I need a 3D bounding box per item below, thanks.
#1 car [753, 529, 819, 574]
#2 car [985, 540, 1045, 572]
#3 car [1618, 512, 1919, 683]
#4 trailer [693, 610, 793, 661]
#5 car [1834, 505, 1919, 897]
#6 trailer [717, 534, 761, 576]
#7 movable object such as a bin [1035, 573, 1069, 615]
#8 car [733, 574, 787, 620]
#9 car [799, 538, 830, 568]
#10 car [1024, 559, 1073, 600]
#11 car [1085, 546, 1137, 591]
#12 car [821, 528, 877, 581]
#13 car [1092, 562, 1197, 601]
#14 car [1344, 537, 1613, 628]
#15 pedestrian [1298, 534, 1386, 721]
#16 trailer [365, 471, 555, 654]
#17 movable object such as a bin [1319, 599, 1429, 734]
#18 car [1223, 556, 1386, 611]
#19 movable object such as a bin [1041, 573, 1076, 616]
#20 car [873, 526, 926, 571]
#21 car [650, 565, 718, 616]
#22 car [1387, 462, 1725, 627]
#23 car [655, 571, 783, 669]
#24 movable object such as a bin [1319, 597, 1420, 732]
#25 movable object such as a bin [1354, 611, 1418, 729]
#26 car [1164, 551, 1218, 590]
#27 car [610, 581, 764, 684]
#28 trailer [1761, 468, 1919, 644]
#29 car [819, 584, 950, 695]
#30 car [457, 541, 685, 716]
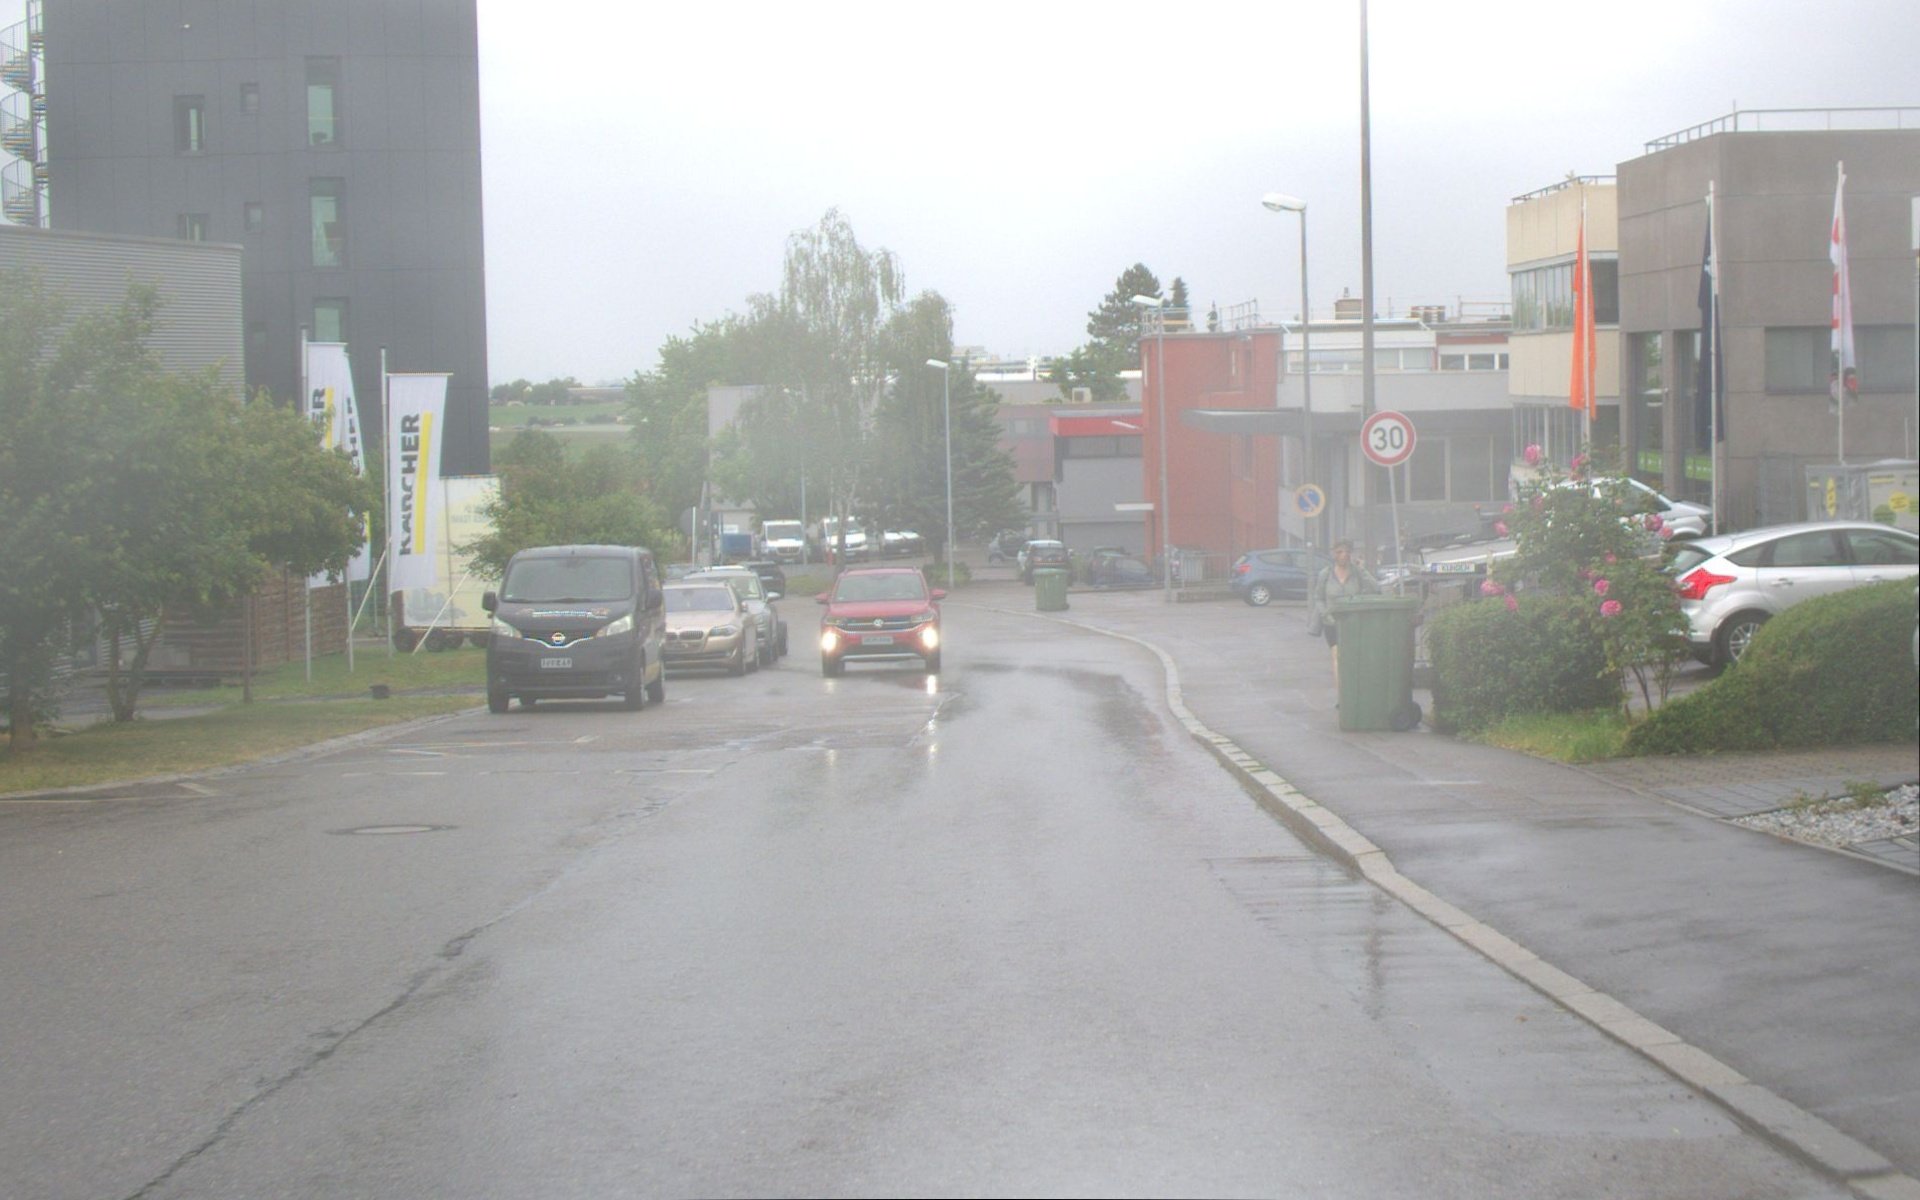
[{"bbox_3d":[-8.405,-2.325,165.773,2.264,2.007,4.001,-2,0,-15],"label":"car"},{"bbox_3d":[2.445,-1.960,153.368,2.547,1.347,1.242,-1,1,-5],"label":"car"},{"bbox_3d":[9.193,-0.071,35.976,4.120,1.568,2.003,-4,0,0],"label":"car"},{"bbox_3d":[-4.052,0.653,64.525,1.680,0.885,3.897,-2,0,-1],"label":"trailer"},{"bbox_3d":[6.017,0.270,13.434,4.597,1.533,2.079,-3,0,0],"label":"car"},{"bbox_3d":[-10.912,-2.219,169.784,1.852,2.007,4.001,-2,1,-8],"label":"trailer"},{"bbox_3d":[2.464,-0.162,92.050,0.809,1.087,0.541,-2,1,-5],"label":"movable object such as a bin"},{"bbox_3d":[-7.638,-0.106,131.105,1.956,1.670,4.473,-2,0,-4],"label":"car"},{"bbox_3d":[-7.281,-2.362,171.803,1.290,1.419,2.547,-2,0,-7],"label":"car"},{"bbox_3d":[3.353,-0.762,131.245,1.697,1.470,4.000,-2,0,0],"label":"car"},{"bbox_3d":[5.765,-1.194,131.927,1.739,1.648,4.000,-2,0,0],"label":"car"},{"bbox_3d":[-5.392,-2.191,166.202,2.192,2.451,4.001,-2,0,-8],"label":"car"},{"bbox_3d":[6.084,-0.619,113.423,3.400,1.159,1.792,-1,1,2],"label":"car"},{"bbox_3d":[10.456,-0.370,69.597,5.091,1.608,1.925,-2,1,0],"label":"car"},{"bbox_3d":[3.669,0.260,33.090,0.736,1.761,0.808,-1,0,2],"label":"pedestrian"},{"bbox_3d":[-11.934,-0.871,82.016,4.182,4.189,2.002,-2,0,38],"label":"trailer"},{"bbox_3d":[3.279,0.519,27.281,0.771,1.026,0.808,-1,0,2],"label":"movable object such as a bin"},{"bbox_3d":[8.647,-0.405,86.497,3.894,1.379,1.821,0,0,-1],"label":"car"},{"bbox_3d":[2.602,-0.153,90.828,0.806,1.089,0.709,-2,1,-5],"label":"movable object such as a bin"},{"bbox_3d":[-2.969,-2.492,167.187,2.145,2.007,3.940,-2,0,-7],"label":"car"},{"bbox_3d":[-9.574,-0.345,118.982,1.700,1.604,4.001,-3,2,-13],"label":"car"},{"bbox_3d":[10.397,-0.957,60.309,5.298,2.006,2.222,-9,0,0],"label":"car"},{"bbox_3d":[-4.165,0.339,60.144,1.957,1.571,4.840,-2,0,-1],"label":"car"},{"bbox_3d":[3.332,0.521,28.015,0.743,1.063,0.637,-1,0,2],"label":"movable object such as a bin"},{"bbox_3d":[3.575,0.582,28.881,0.472,0.964,0.514,-1,0,2],"label":"movable object such as a bin"},{"bbox_3d":[8.804,-1.114,131.077,1.729,1.417,4.000,-2,0,0],"label":"car"},{"bbox_3d":[-4.214,0.475,53.767,1.956,1.456,5.248,-2,1,0],"label":"car"},{"bbox_3d":[13.063,-0.681,49.946,1.887,2.408,4.308,-2,2,1],"label":"trailer"},{"bbox_3d":[-1.103,0.586,52.011,1.747,1.503,3.935,-4,0,1],"label":"car"},{"bbox_3d":[-4.352,0.290,39.123,1.915,1.825,4.847,-1,0,1],"label":"car"}]
